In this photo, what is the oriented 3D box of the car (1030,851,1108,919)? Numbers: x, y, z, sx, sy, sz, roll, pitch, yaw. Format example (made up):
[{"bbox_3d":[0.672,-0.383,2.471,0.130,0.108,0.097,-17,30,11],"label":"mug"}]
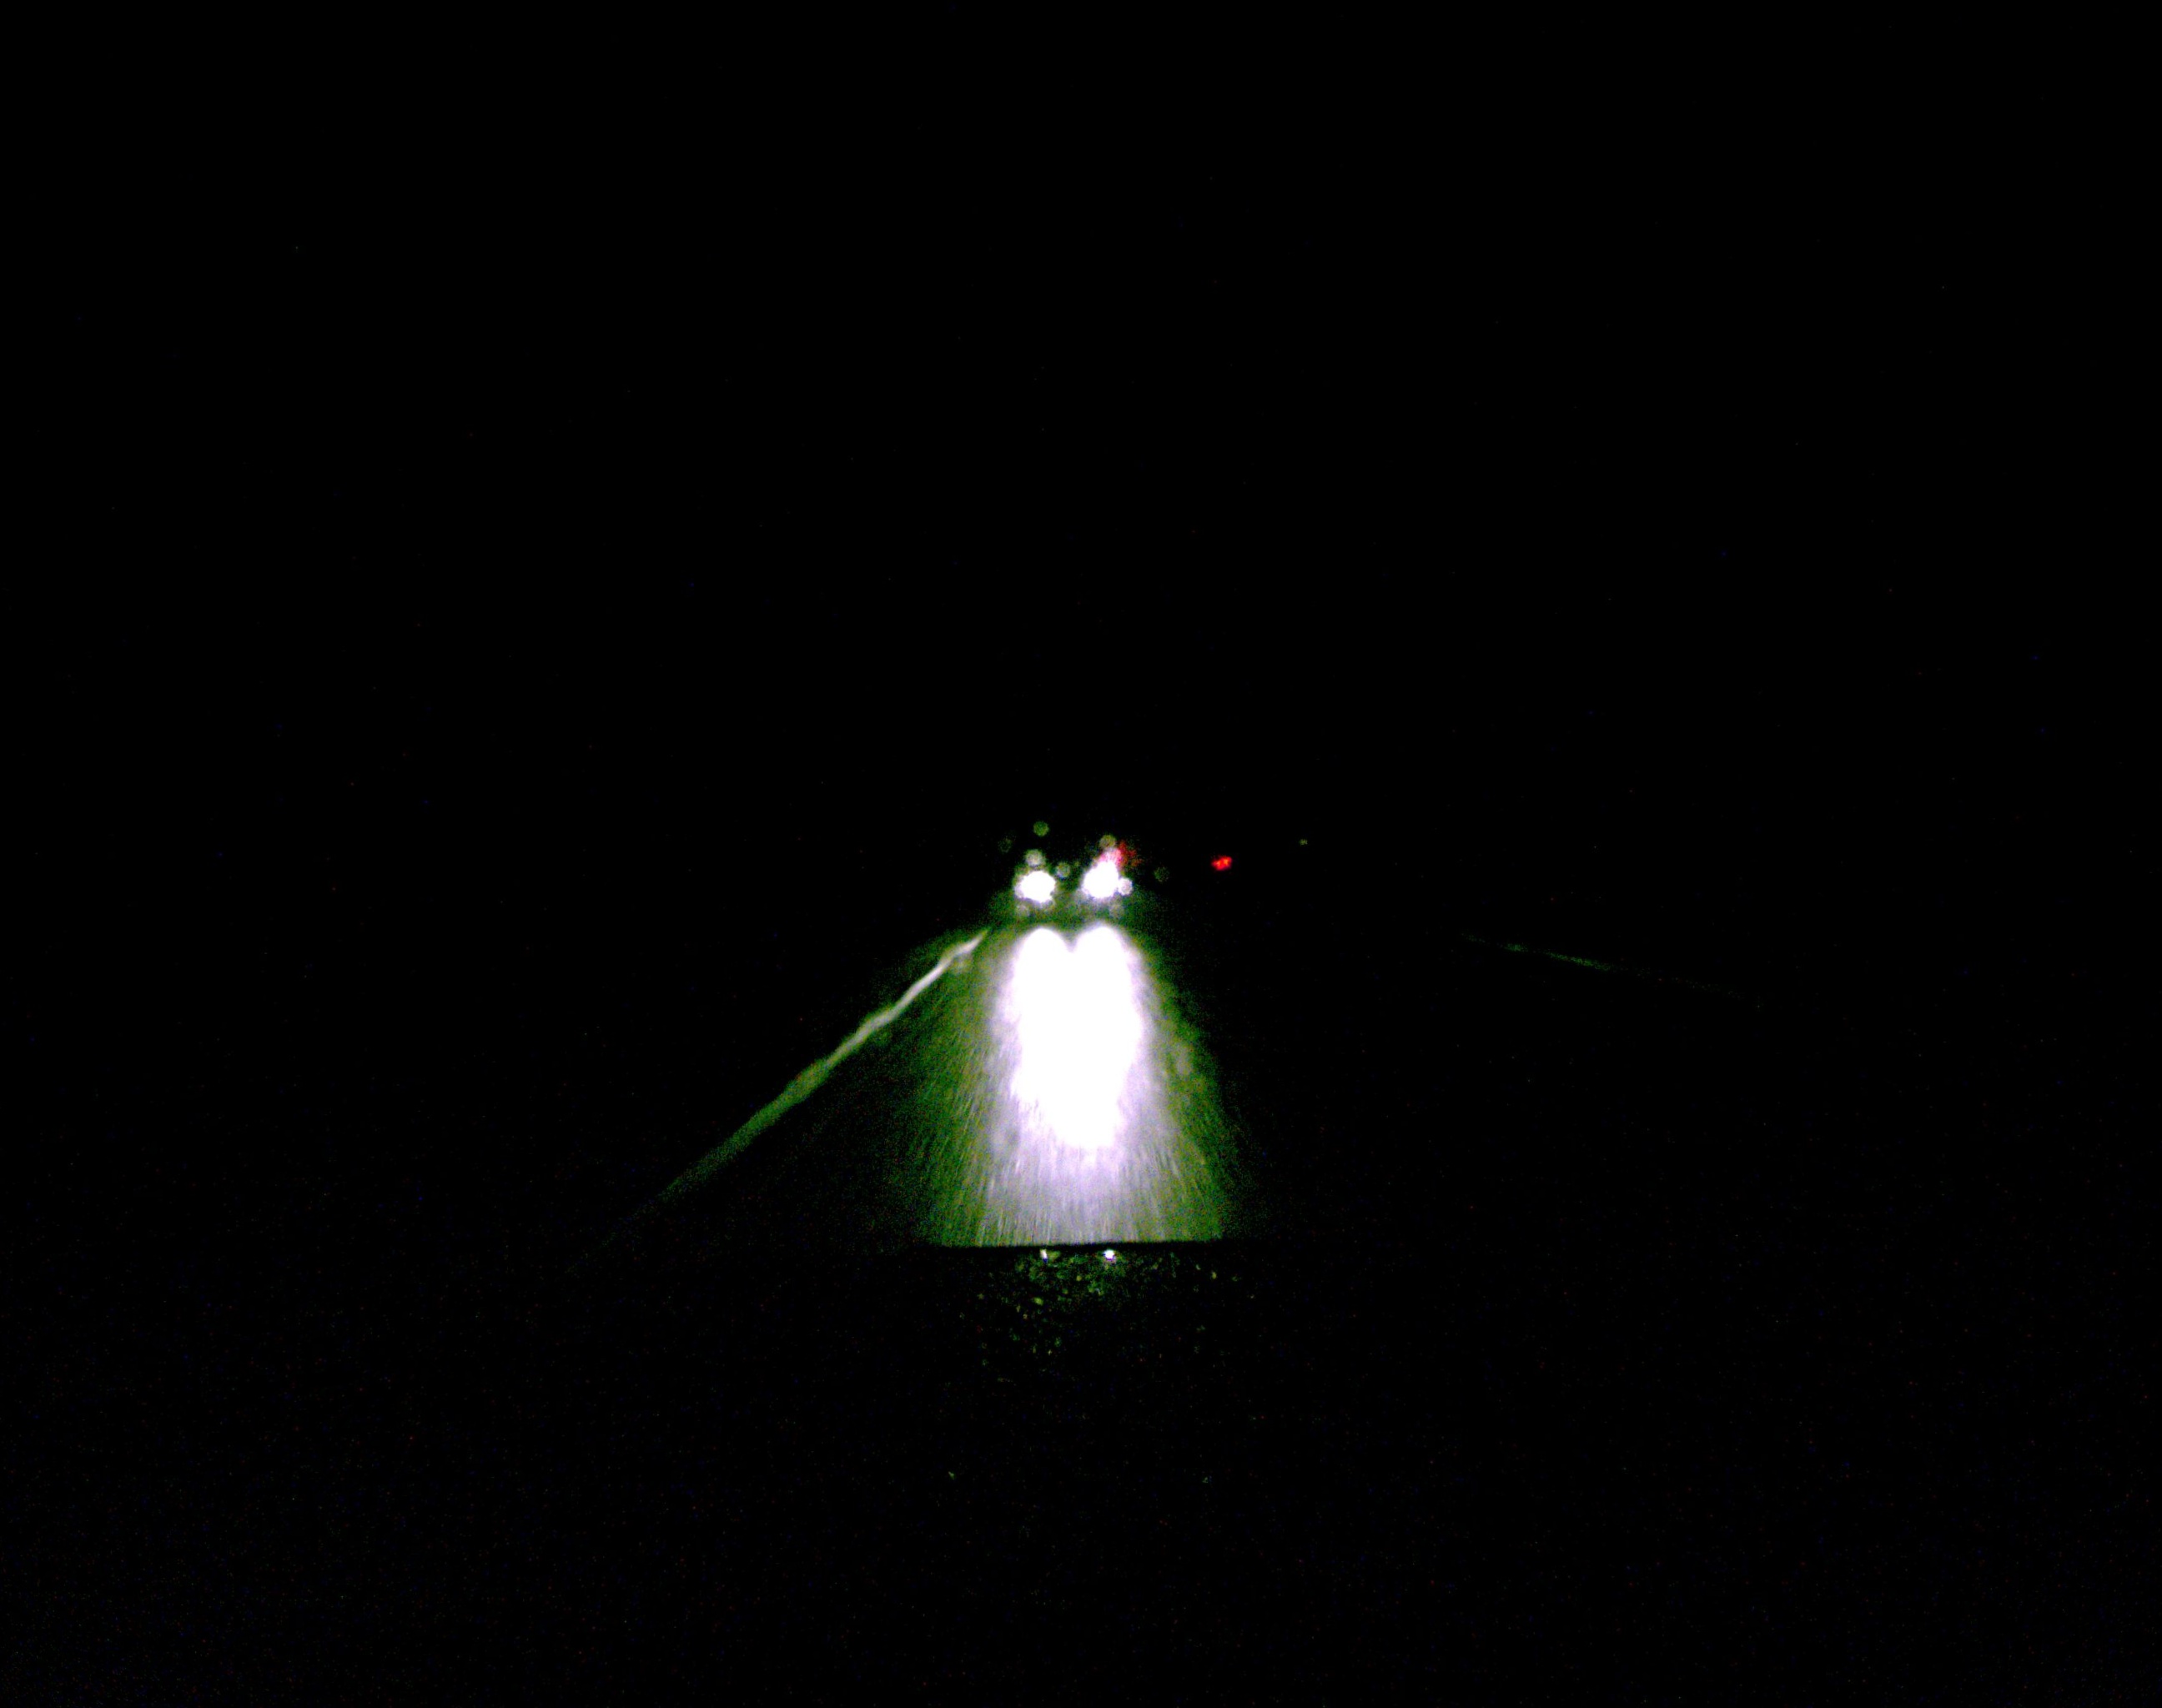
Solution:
[{"bbox_3d":[-0.224,0.743,20.584,1.846,1.565,4.000,-2,1,2],"label":"car"}]

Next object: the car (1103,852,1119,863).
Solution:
[{"bbox_3d":[4.103,0.467,104.572,1.909,1.461,4.274,-4,0,-1],"label":"car"}]

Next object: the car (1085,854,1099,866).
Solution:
[{"bbox_3d":[1.552,0.827,105.336,1.846,1.565,4.000,-2,1,2],"label":"car"}]
